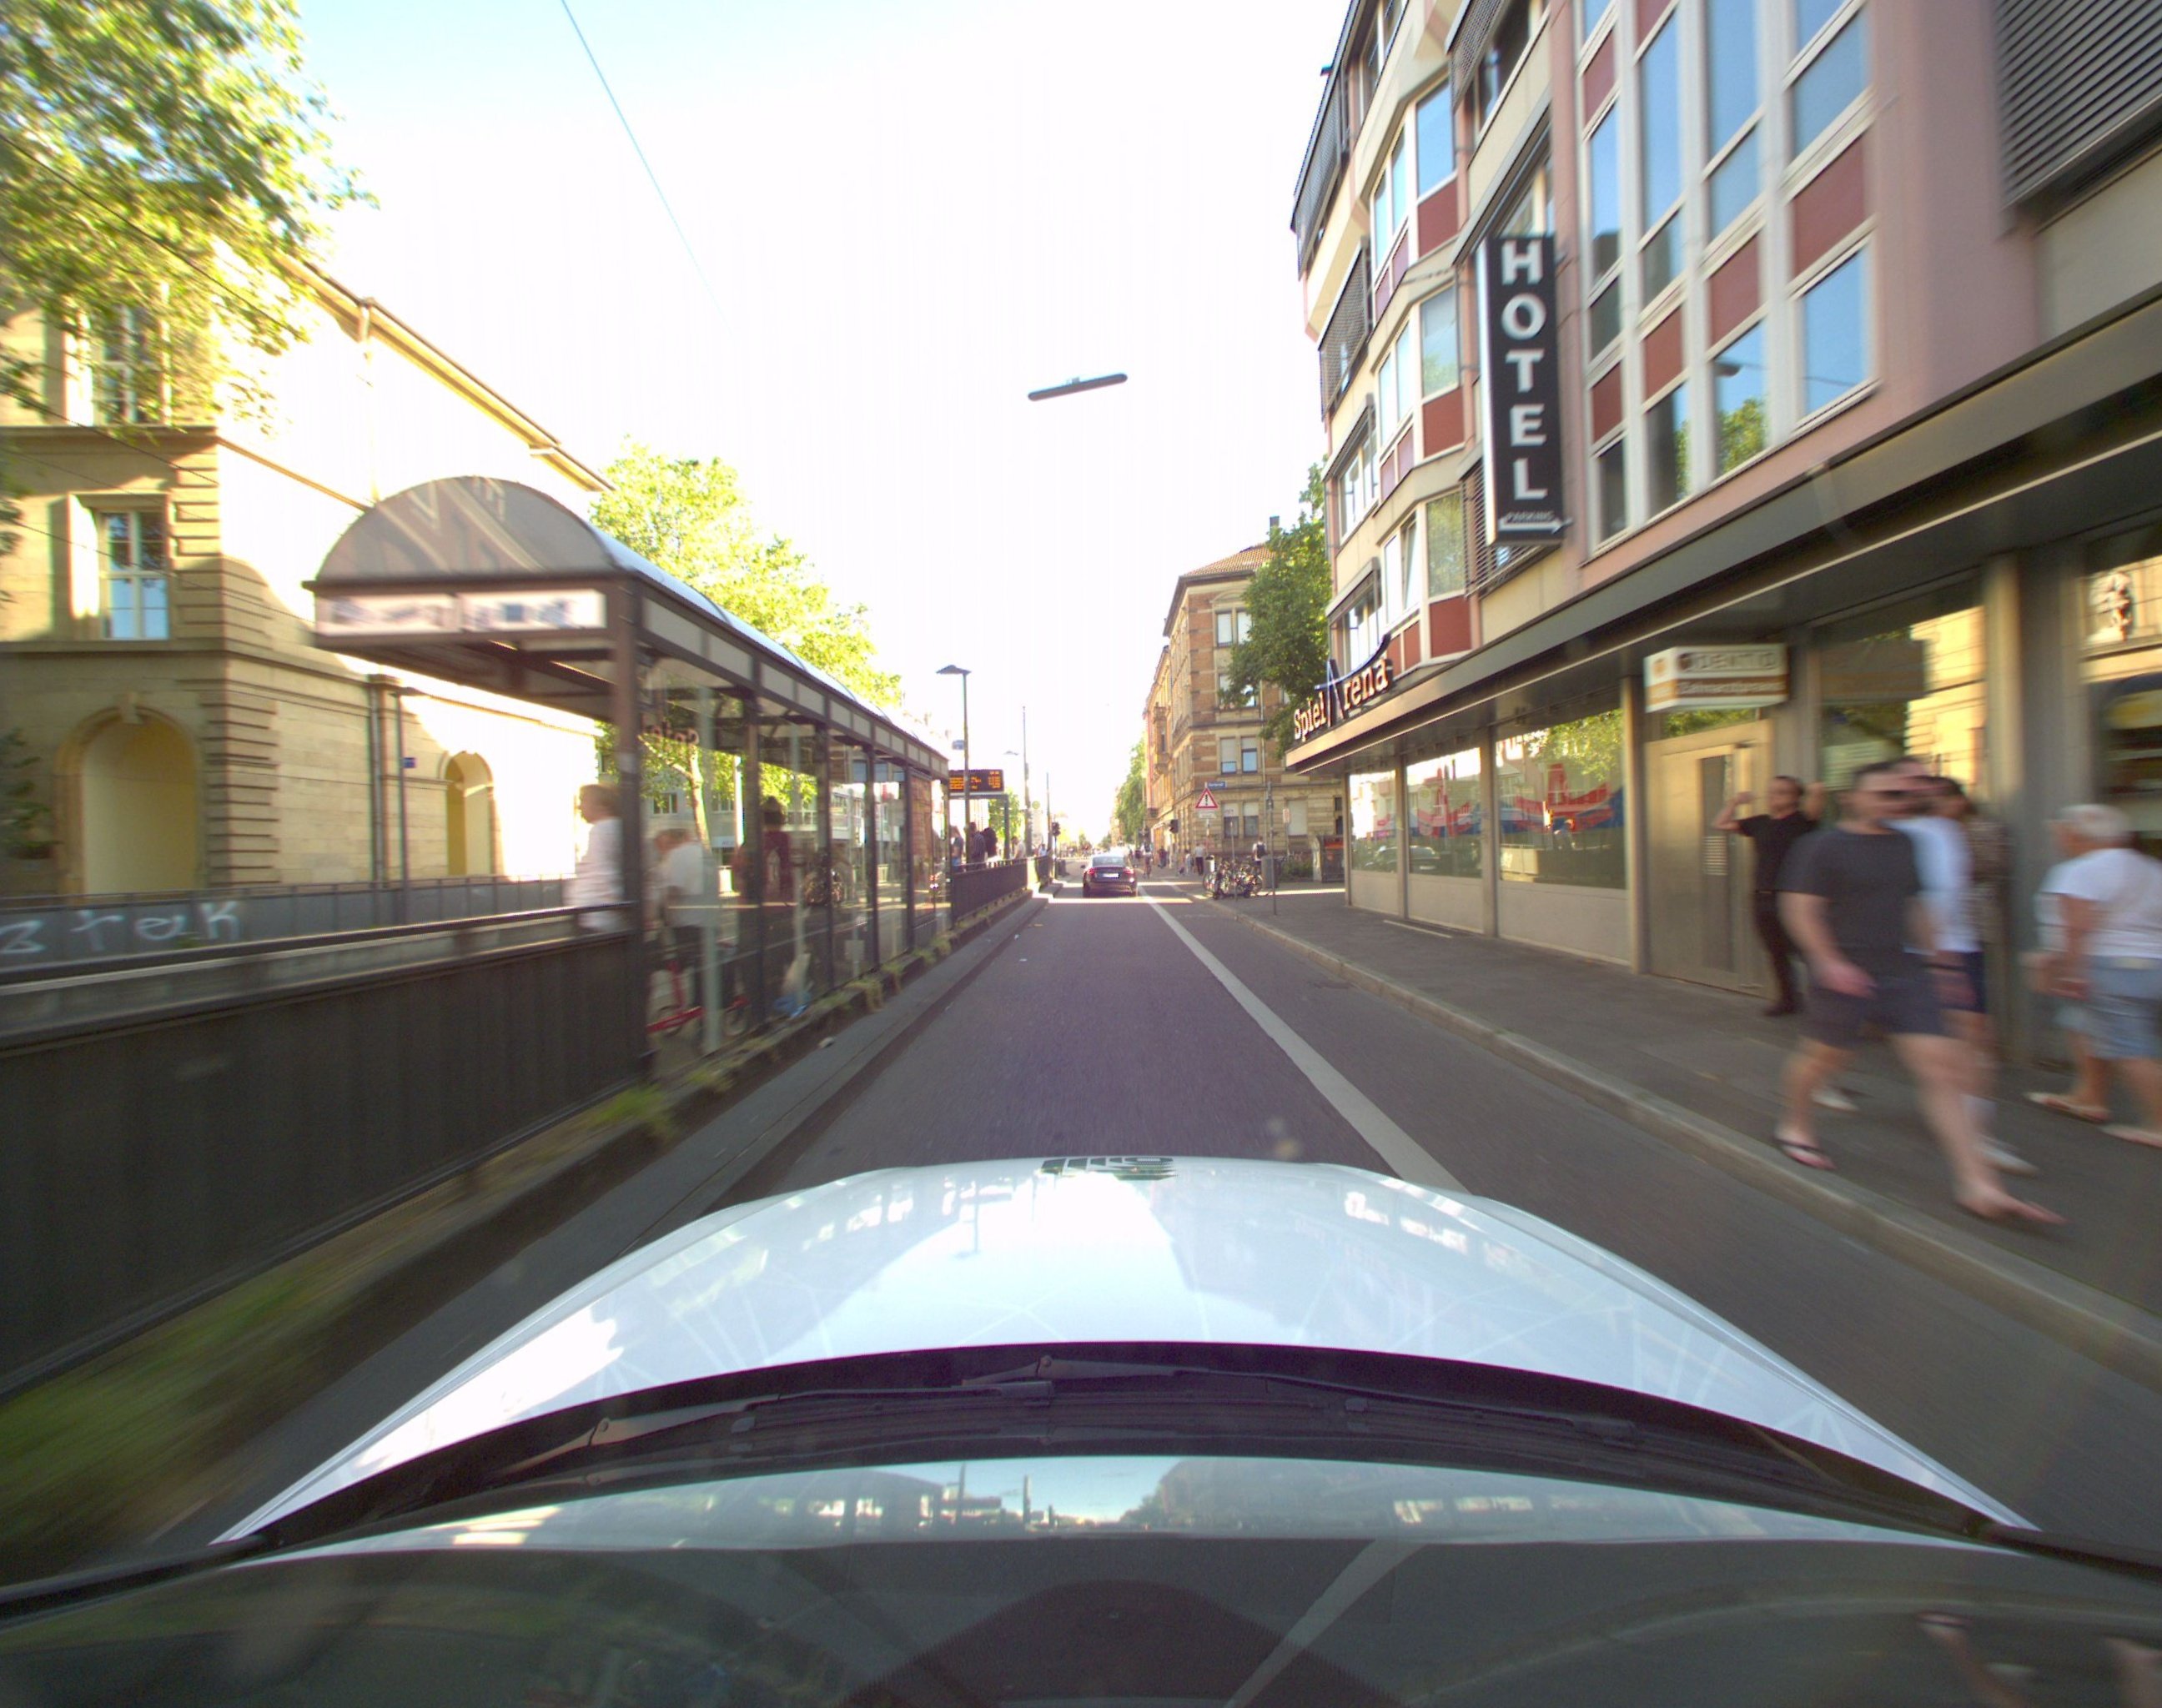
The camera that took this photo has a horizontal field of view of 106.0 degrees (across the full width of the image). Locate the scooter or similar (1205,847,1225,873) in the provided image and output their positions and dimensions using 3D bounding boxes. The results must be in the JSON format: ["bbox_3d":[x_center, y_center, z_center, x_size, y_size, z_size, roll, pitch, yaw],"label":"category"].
[{"bbox_3d":[6.803,0.308,41.452,0.391,1.289,1.515,-2,0,-14],"label":"scooter or similar"}]

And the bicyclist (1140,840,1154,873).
[{"bbox_3d":[3.366,0.122,41.727,0.651,1.655,0.929,-1,0,6],"label":"bicyclist"}]

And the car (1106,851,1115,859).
[{"bbox_3d":[5.449,0.155,150.767,1.705,1.457,4.551,-1,0,1],"label":"car"}]

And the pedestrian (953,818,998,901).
[{"bbox_3d":[-2.393,0.118,18.403,0.775,1.831,0.796,0,-1,-29],"label":"pedestrian"}]

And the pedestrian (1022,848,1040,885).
[{"bbox_3d":[-1.809,0.454,29.692,0.475,1.329,0.356,-2,0,30],"label":"pedestrian"}]

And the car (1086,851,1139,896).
[{"bbox_3d":[1.023,0.628,28.088,1.714,1.405,3.710,-1,0,0],"label":"car"}]

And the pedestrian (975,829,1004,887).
[{"bbox_3d":[-2.835,0.124,25.255,0.760,1.734,0.590,-2,0,1],"label":"pedestrian"}]

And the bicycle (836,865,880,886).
[{"bbox_3d":[-11.817,1.134,43.227,2.182,0.966,0.640,-2,0,-41],"label":"bicycle"}]

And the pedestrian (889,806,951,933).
[{"bbox_3d":[-2.321,0.215,11.810,0.687,1.765,0.748,-2,0,0],"label":"pedestrian"}]

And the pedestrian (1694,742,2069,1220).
[{"bbox_3d":[3.277,0.469,3.429,0.665,1.728,0.810,-4,0,1],"label":"pedestrian"}]

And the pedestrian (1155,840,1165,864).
[{"bbox_3d":[5.907,-0.140,60.775,0.465,1.728,0.591,-2,1,37],"label":"pedestrian"}]

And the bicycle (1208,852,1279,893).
[{"bbox_3d":[4.778,0.539,23.965,1.940,1.107,0.564,-2,0,-1],"label":"bicycle"}]

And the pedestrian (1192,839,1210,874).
[{"bbox_3d":[6.403,0.125,43.604,0.843,1.807,0.878,-2,1,6],"label":"pedestrian"}]

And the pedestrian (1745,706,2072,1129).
[{"bbox_3d":[3.964,0.281,3.978,0.703,1.820,0.763,-4,0,1],"label":"pedestrian"}]

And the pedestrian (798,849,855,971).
[{"bbox_3d":[-2.480,0.530,7.961,0.407,1.152,0.460,-1,0,0],"label":"pedestrian"}]

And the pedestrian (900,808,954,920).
[{"bbox_3d":[-2.496,0.153,13.296,0.687,1.752,0.748,-2,0,0],"label":"pedestrian"}]

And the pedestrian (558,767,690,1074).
[{"bbox_3d":[-2.465,0.343,4.421,0.422,1.573,0.448,-1,0,1],"label":"pedestrian"}]

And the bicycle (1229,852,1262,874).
[{"bbox_3d":[8.454,0.461,41.869,0.446,1.115,1.794,-2,0,-39],"label":"bicycle"}]

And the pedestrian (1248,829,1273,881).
[{"bbox_3d":[7.009,0.063,31.843,0.714,1.985,0.942,0,-3,-1],"label":"pedestrian"}]

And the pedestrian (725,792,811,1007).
[{"bbox_3d":[-2.392,0.331,6.230,0.545,1.572,0.318,0,-1,-37],"label":"pedestrian"}]

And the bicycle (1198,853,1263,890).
[{"bbox_3d":[4.764,0.549,25.995,1.940,1.107,0.564,-2,0,-1],"label":"bicycle"}]

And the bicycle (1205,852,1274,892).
[{"bbox_3d":[4.779,0.543,24.579,1.940,1.107,0.564,-2,0,-1],"label":"bicycle"}]

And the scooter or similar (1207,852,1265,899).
[{"bbox_3d":[4.424,0.617,23.313,1.473,1.229,0.592,-4,0,1],"label":"scooter or similar"}]

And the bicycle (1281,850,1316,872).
[{"bbox_3d":[11.317,0.362,42.427,0.447,1.115,1.793,-2,0,-40],"label":"bicycle"}]

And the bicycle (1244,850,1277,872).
[{"bbox_3d":[9.319,0.390,42.322,0.447,1.115,1.793,-2,0,-40],"label":"bicycle"}]

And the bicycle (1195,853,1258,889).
[{"bbox_3d":[4.747,0.551,26.643,1.940,1.107,0.564,-2,0,-1],"label":"bicycle"}]

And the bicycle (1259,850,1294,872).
[{"bbox_3d":[10.108,0.379,42.150,0.447,1.115,1.793,-2,0,-40],"label":"bicycle"}]

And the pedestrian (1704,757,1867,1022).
[{"bbox_3d":[5.283,0.250,6.152,0.449,1.849,0.812,-3,0,0],"label":"pedestrian"}]

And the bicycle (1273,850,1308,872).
[{"bbox_3d":[10.829,0.364,42.200,0.447,1.115,1.793,-2,0,-40],"label":"bicycle"}]

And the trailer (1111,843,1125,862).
[{"bbox_3d":[4.418,-0.170,97.126,1.654,2.117,3.845,0,0,3],"label":"trailer"}]

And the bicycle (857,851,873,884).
[{"bbox_3d":[-11.530,0.722,43.484,0.586,1.716,0.641,-2,0,-34],"label":"bicycle"}]

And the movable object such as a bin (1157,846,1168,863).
[{"bbox_3d":[6.631,0.079,66.354,0.773,1.347,1.299,-2,0,0],"label":"movable object such as a bin"}]

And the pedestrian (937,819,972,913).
[{"bbox_3d":[-2.262,0.208,14.610,0.492,1.648,0.590,-2,0,0],"label":"pedestrian"}]

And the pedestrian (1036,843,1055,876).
[{"bbox_3d":[-1.980,0.284,45.768,0.587,1.821,0.948,0,0,34],"label":"pedestrian"}]

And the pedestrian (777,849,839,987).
[{"bbox_3d":[-2.356,0.535,7.054,0.364,1.152,0.460,-1,0,0],"label":"pedestrian"}]

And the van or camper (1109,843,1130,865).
[{"bbox_3d":[3.737,-0.007,79.718,1.924,2.037,5.475,0,0,1],"label":"van or camper"}]

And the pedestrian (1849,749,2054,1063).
[{"bbox_3d":[5.216,0.299,4.909,0.627,1.769,0.501,-3,0,1],"label":"pedestrian"}]

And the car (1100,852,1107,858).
[{"bbox_3d":[5.596,0.142,201.193,1.587,1.433,3.688,-2,0,2],"label":"car"}]

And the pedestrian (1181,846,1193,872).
[{"bbox_3d":[5.781,0.283,44.320,0.570,1.414,0.582,0,0,11],"label":"pedestrian"}]

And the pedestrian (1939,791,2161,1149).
[{"bbox_3d":[4.665,0.476,3.751,0.633,1.483,0.654,-4,0,0],"label":"pedestrian"}]

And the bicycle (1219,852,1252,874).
[{"bbox_3d":[7.919,0.464,41.753,0.446,1.115,1.794,-2,0,-39],"label":"bicycle"}]

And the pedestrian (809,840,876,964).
[{"bbox_3d":[-2.467,0.487,8.457,0.538,1.252,0.460,-1,0,0],"label":"pedestrian"}]

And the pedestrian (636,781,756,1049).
[{"bbox_3d":[-2.388,0.357,5.102,0.422,1.573,0.593,-1,0,1],"label":"pedestrian"}]

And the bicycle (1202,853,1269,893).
[{"bbox_3d":[4.777,0.586,25.234,1.940,1.165,0.628,-2,0,-1],"label":"bicycle"}]

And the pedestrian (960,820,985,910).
[{"bbox_3d":[-2.067,0.207,15.565,0.350,1.669,0.529,-2,0,0],"label":"pedestrian"}]

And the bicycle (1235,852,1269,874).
[{"bbox_3d":[8.853,0.459,42.123,0.447,1.115,1.793,-2,0,-40],"label":"bicycle"}]

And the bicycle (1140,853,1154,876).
[{"bbox_3d":[3.388,0.526,41.696,0.644,1.139,2.099,-1,0,5],"label":"bicycle"}]

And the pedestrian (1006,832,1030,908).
[{"bbox_3d":[-1.801,0.457,23.325,0.536,2.120,0.808,-2,0,0],"label":"pedestrian"}]

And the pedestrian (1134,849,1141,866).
[{"bbox_3d":[5.810,0.358,83.708,0.670,1.814,0.756,-2,-1,0],"label":"pedestrian"}]
